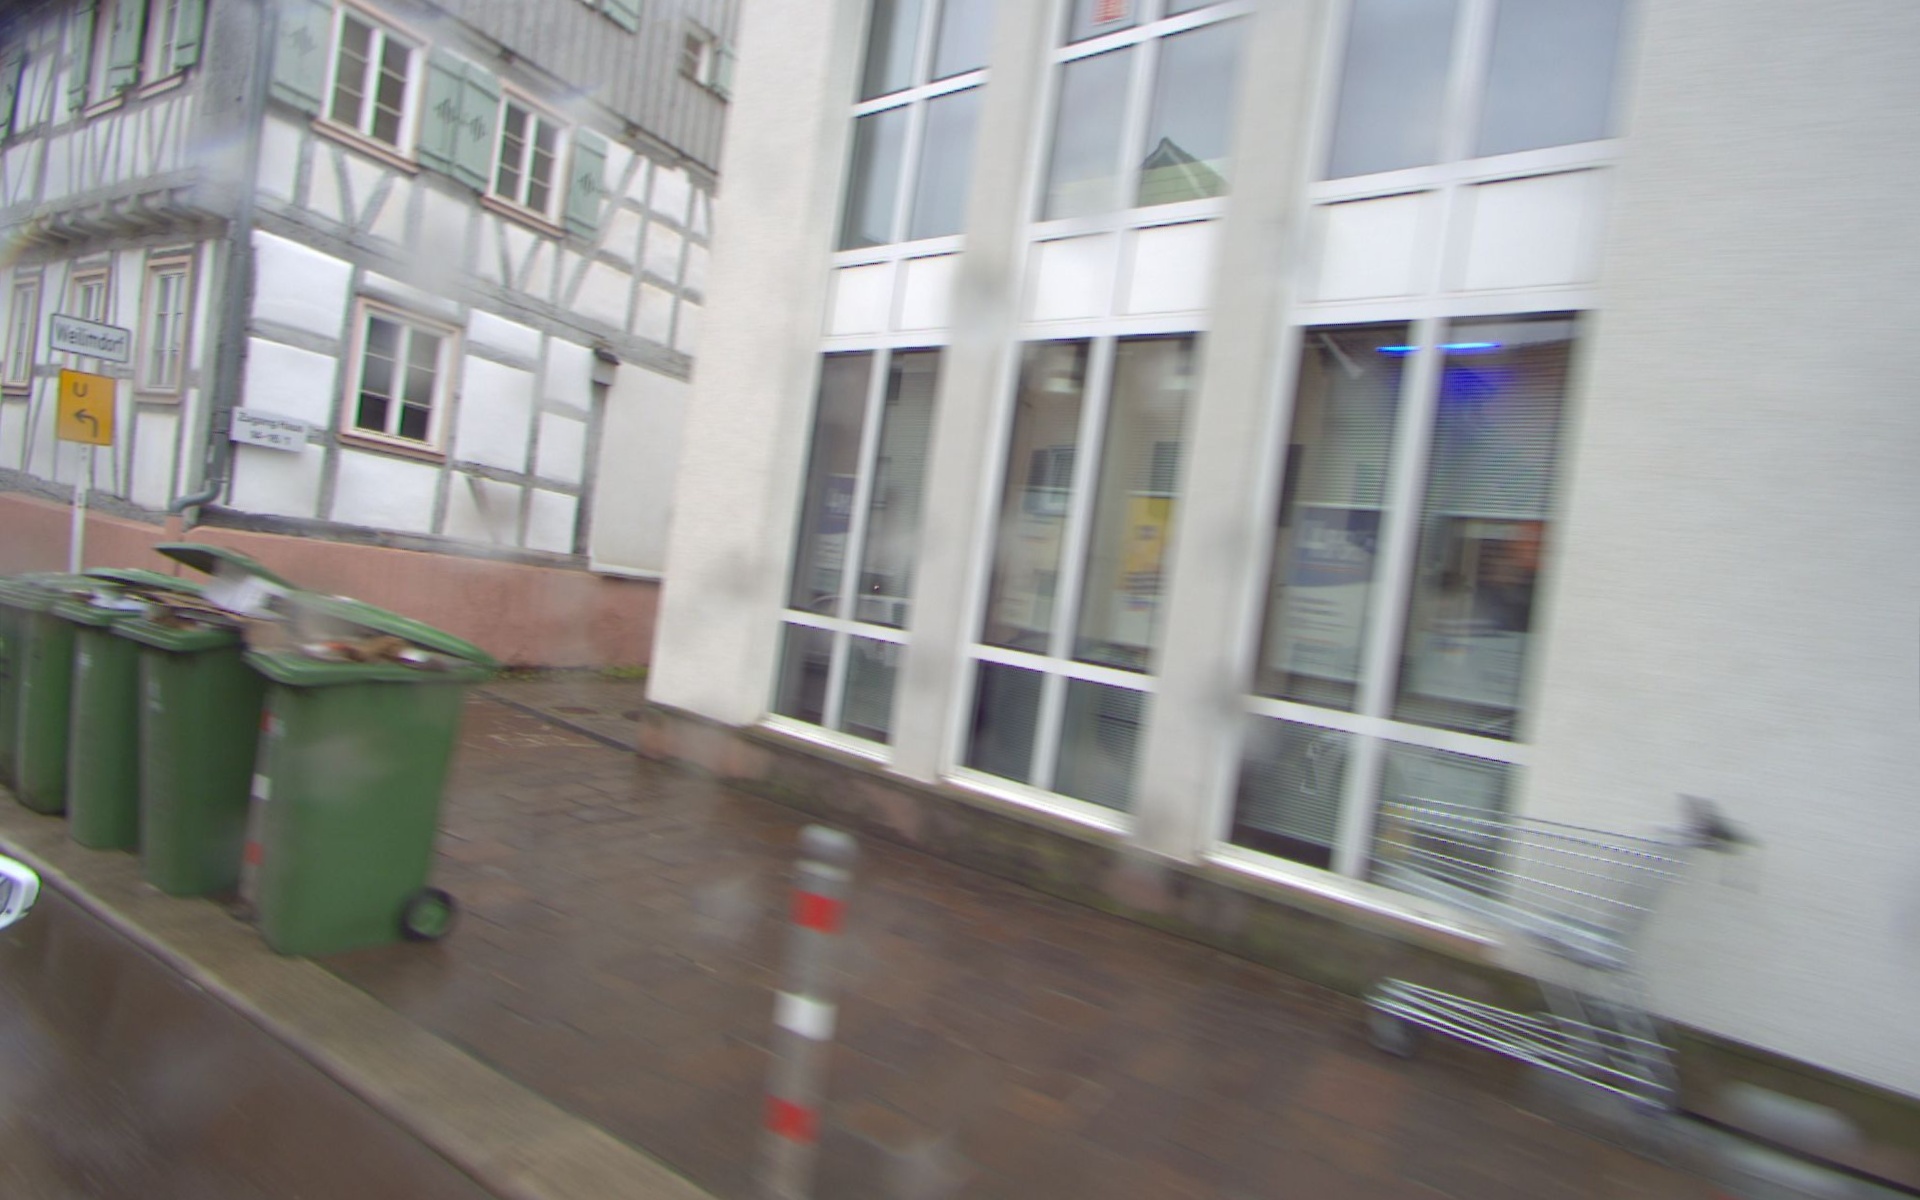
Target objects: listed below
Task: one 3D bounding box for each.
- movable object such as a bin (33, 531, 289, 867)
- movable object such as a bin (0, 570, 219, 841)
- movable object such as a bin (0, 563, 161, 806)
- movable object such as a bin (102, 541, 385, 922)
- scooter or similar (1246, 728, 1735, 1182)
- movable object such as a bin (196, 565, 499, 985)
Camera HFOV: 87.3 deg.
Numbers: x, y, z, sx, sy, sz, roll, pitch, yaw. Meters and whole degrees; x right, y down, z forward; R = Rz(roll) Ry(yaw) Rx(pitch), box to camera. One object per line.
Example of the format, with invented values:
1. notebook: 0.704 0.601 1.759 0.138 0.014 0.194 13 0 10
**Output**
1. movable object such as a bin: -3.487 0.407 4.403 0.622 1.306 0.638 6 0 36
2. movable object such as a bin: -4.070 0.480 4.802 0.622 1.145 0.616 6 0 36
3. movable object such as a bin: -4.705 0.418 5.233 0.622 1.145 0.616 6 0 34
4. movable object such as a bin: -2.806 0.477 3.952 0.622 1.306 0.638 6 0 36
5. scooter or similar: 1.948 1.175 3.780 1.425 1.160 0.664 6 0 39
6. movable object such as a bin: -2.209 0.578 3.643 0.622 1.306 0.638 6 0 36
